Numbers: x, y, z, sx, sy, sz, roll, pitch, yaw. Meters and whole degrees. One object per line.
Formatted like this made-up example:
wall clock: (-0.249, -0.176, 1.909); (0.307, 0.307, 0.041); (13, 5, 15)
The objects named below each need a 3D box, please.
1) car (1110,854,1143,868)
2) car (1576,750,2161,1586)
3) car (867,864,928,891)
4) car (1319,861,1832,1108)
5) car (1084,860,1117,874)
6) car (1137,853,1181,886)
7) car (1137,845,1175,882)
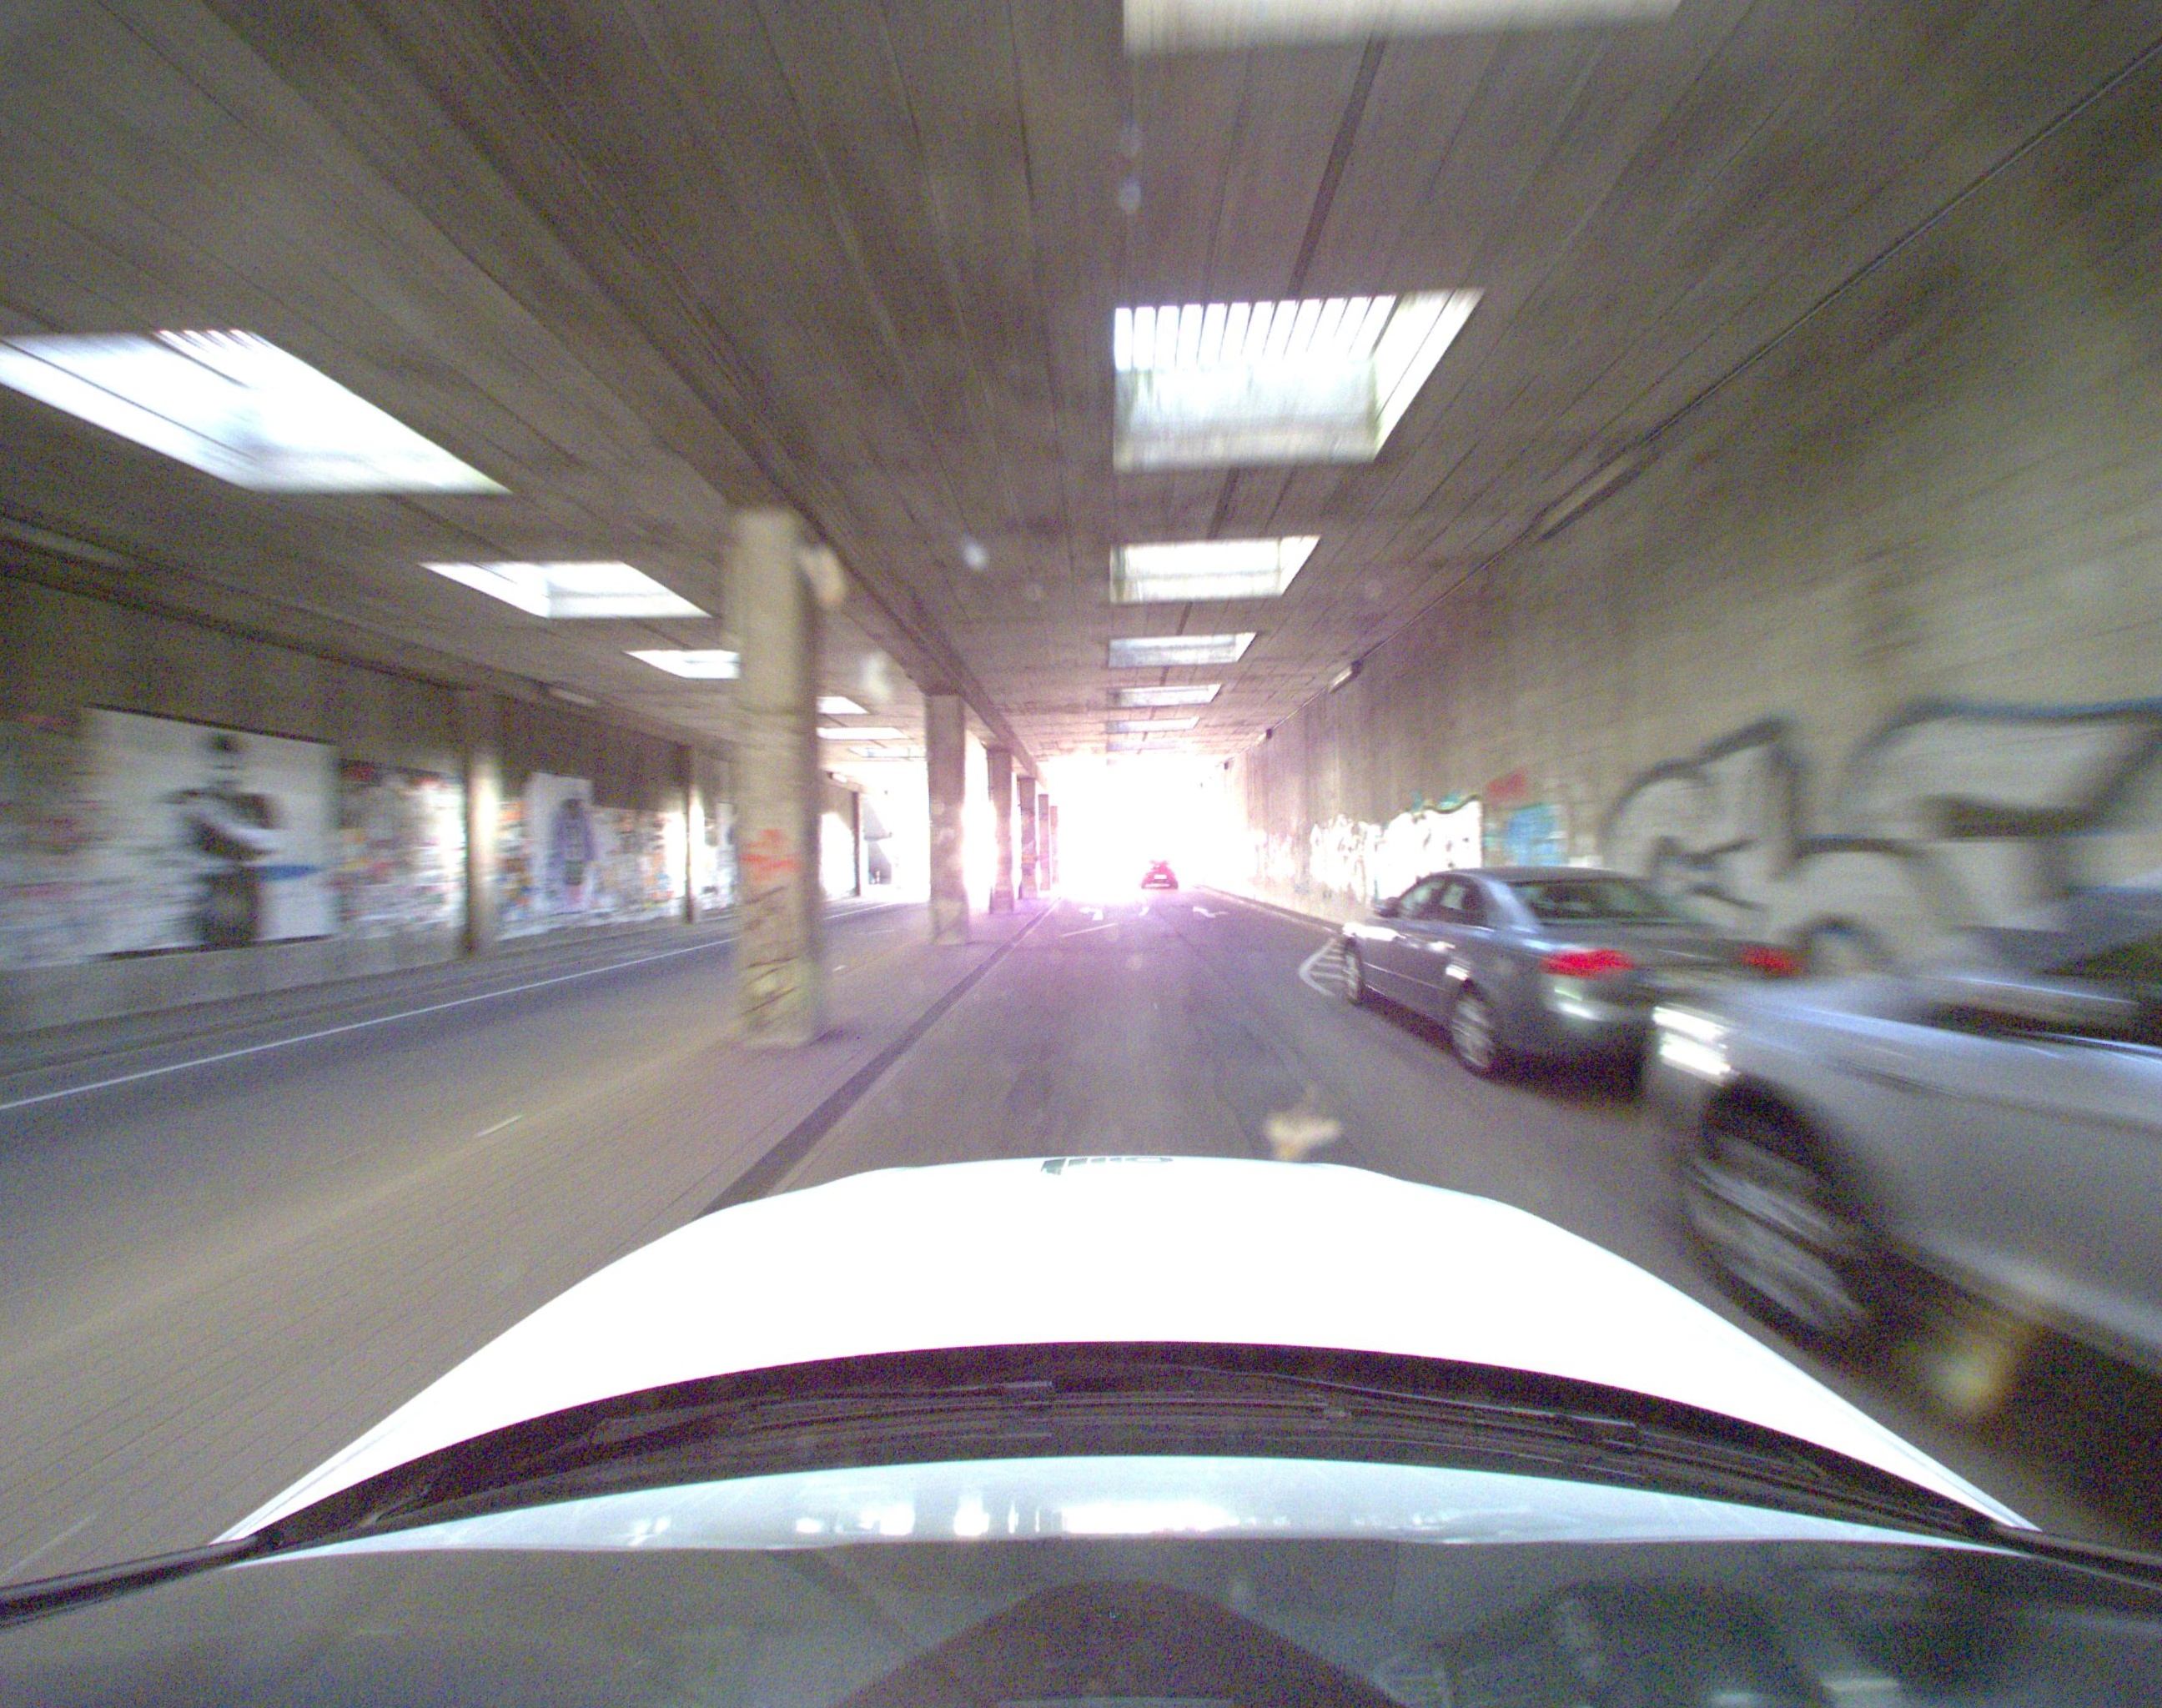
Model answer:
car: (5.938, 0.917, 106.283); (4.127, 1.739, 2.005); (-2, 0, 8)
car: (3.062, 0.613, 1.367); (1.846, 1.666, 4.371); (-1, 0, 1)
car: (-15.049, 1.891, 66.913); (4.463, 2.013, 2.001); (-1, 2, 1)
car: (3.477, 0.766, 6.859); (1.695, 1.374, 4.374); (-1, 0, 1)
car: (2.462, 1.653, 102.601); (3.967, 1.574, 1.642); (-1, -1, 5)
car: (3.705, 0.710, 39.384); (1.819, 1.501, 4.213); (-2, 0, 2)
car: (4.164, 0.505, 45.783); (1.808, 1.882, 4.587); (-2, 0, 1)
